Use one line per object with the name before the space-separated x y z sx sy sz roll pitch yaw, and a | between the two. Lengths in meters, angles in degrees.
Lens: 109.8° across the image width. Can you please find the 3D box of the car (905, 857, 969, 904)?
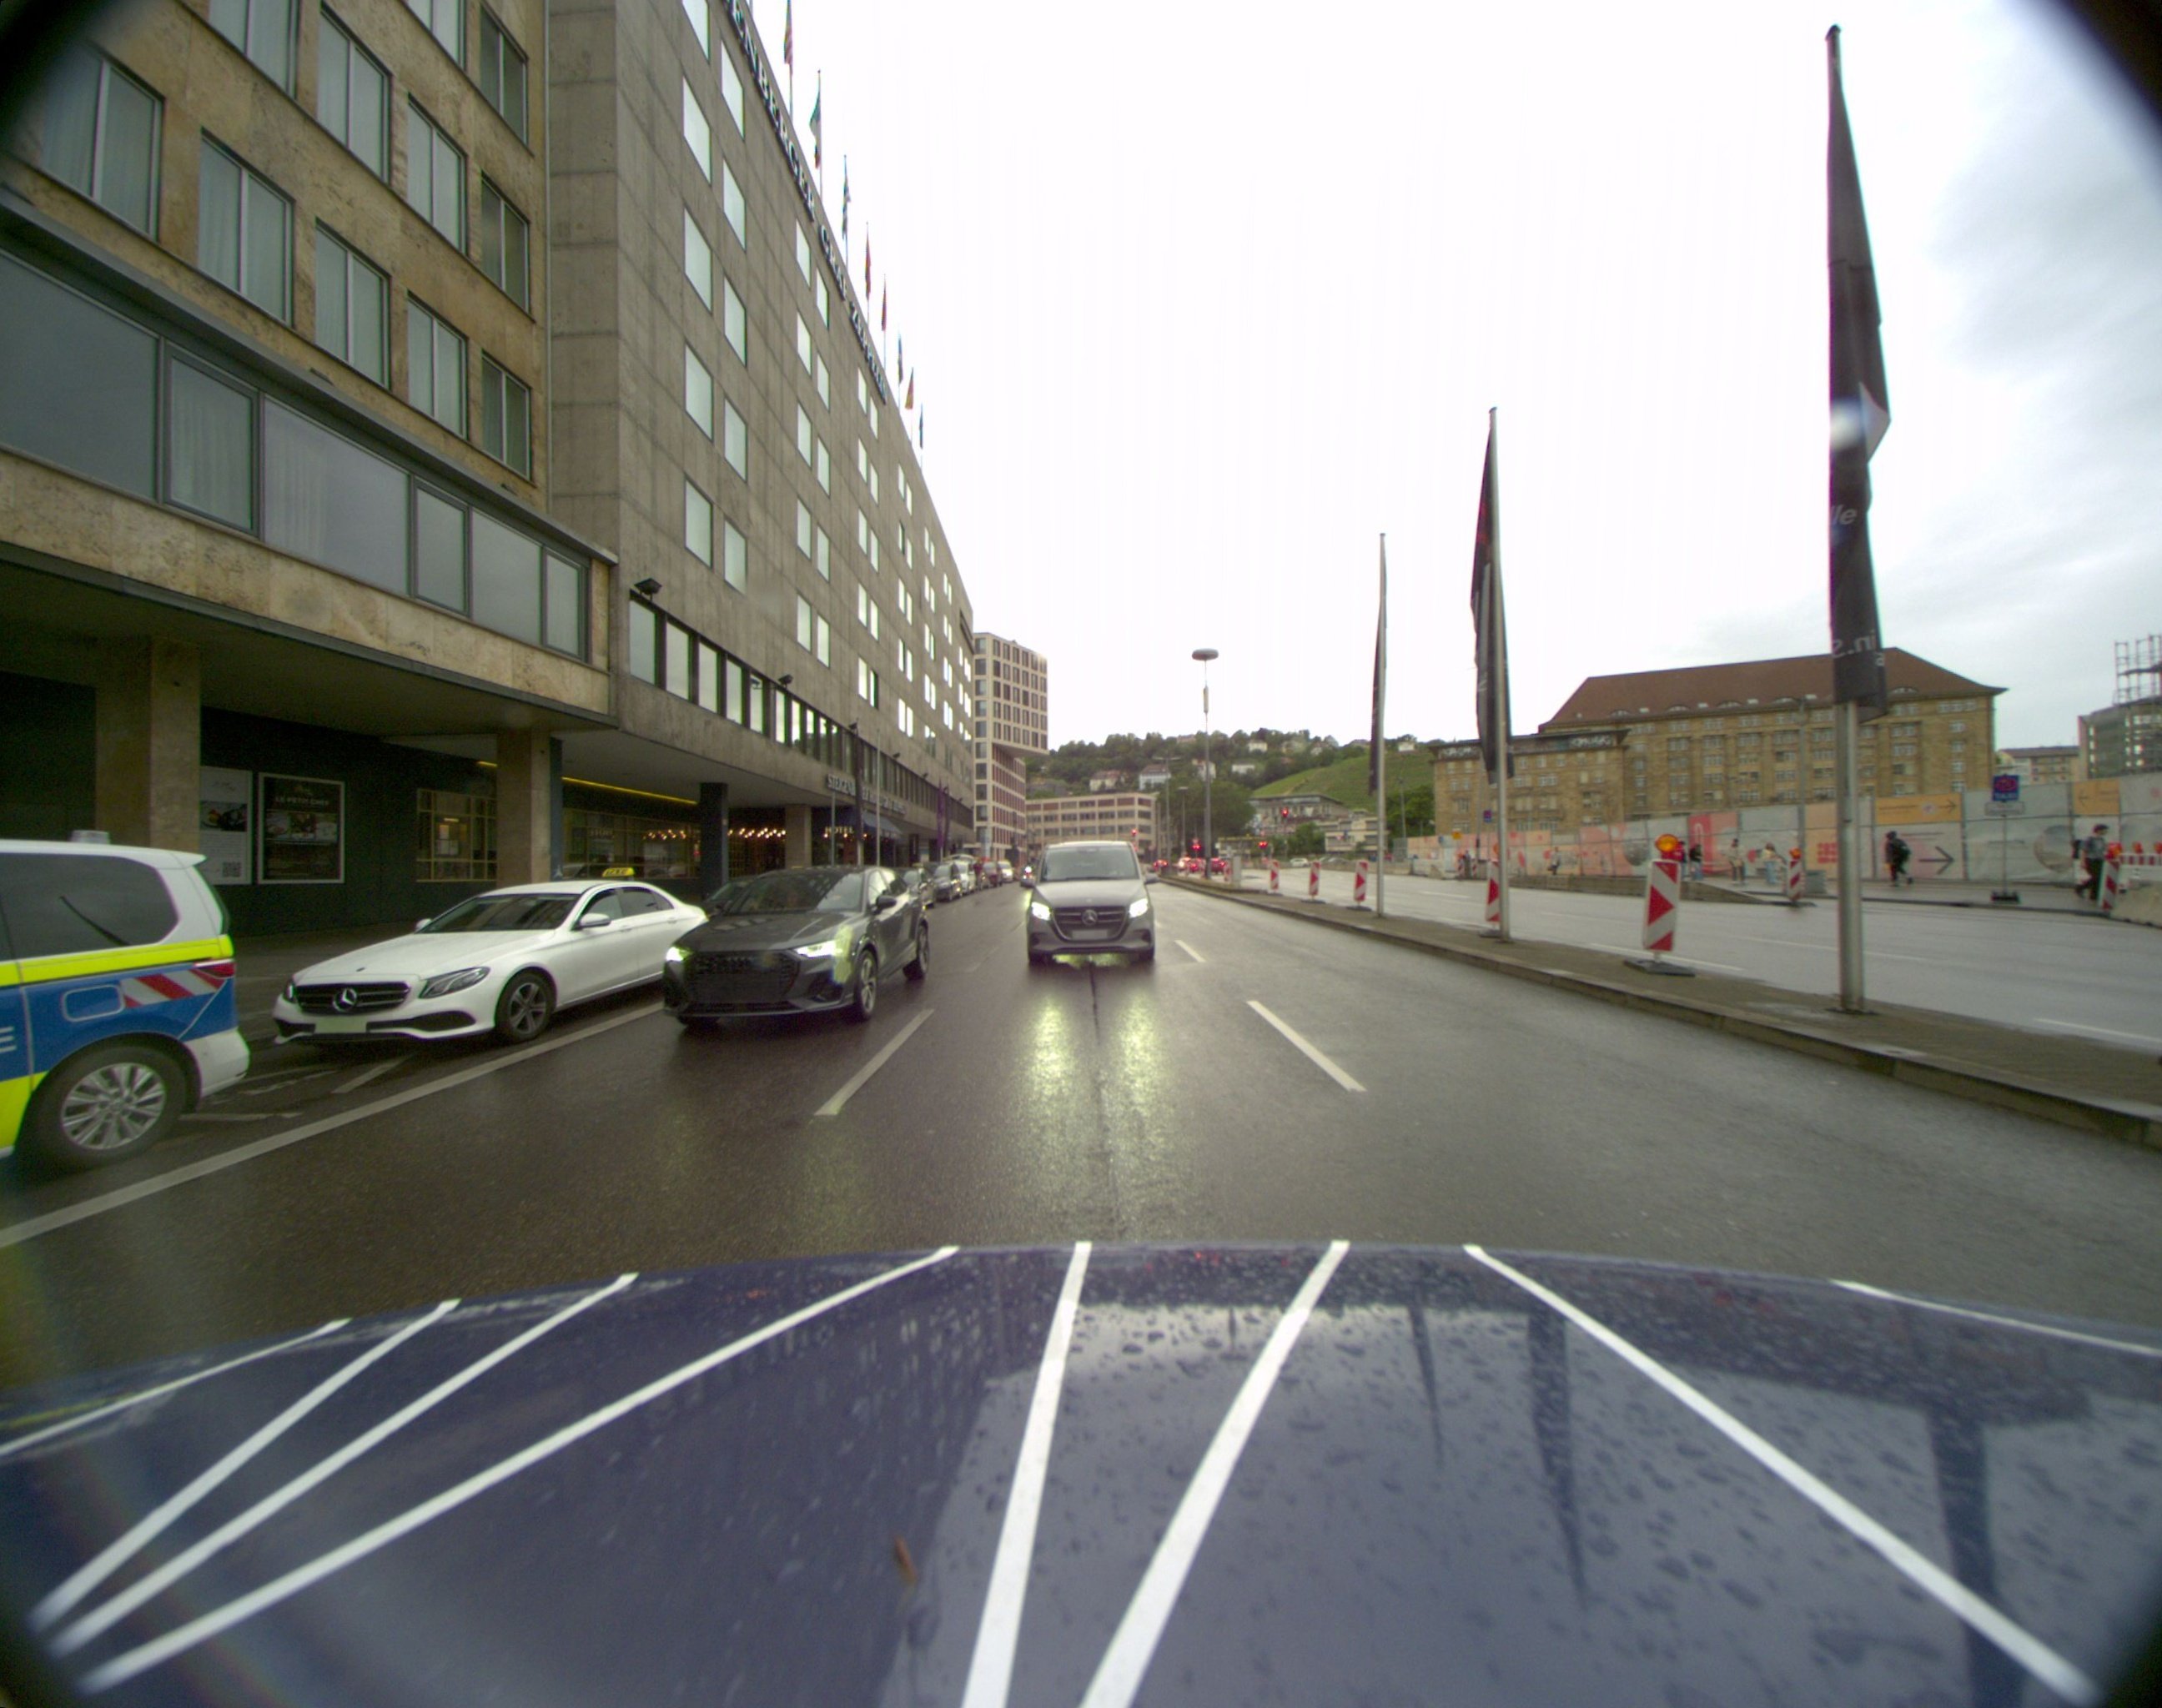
car | -6.048 1.047 32.444 1.731 1.732 4.814 -2 0 0

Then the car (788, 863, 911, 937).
car | -6.041 1.122 20.458 1.731 1.583 4.814 -2 0 0

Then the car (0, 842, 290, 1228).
car | -6.327 0.938 2.644 1.879 1.909 4.935 -2 0 0

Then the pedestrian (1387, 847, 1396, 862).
pedestrian | 34.536 0.066 84.428 0.715 1.606 0.544 -2 1 1

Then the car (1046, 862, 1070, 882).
car | -1.902 1.489 63.074 1.869 1.461 3.999 -2 0 -3

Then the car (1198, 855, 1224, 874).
car | 12.315 0.956 71.902 1.785 1.684 3.916 -1 0 0

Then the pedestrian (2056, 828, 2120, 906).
pedestrian | 24.433 0.309 18.450 0.587 1.825 0.717 -2 1 1

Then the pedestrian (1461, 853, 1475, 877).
pedestrian | 27.095 0.763 53.212 0.715 1.606 0.544 -2 1 1

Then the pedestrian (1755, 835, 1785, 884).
pedestrian | 26.123 0.207 28.816 0.661 1.825 0.556 -2 1 21

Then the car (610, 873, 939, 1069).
car | -3.048 1.063 8.722 1.883 1.493 4.342 -2 0 1

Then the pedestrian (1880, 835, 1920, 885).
pedestrian | 27.099 0.199 25.138 0.715 1.606 0.544 -2 1 1

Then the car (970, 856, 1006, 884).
car | -5.864 0.989 48.328 1.731 1.604 4.001 -2 0 0

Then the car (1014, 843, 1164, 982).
car | 0.144 0.791 13.053 1.998 1.849 5.160 -2 0 1

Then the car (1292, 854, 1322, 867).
car | 34.749 1.035 116.998 4.194 1.846 1.832 -2 1 6

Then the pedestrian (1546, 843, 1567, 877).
pedestrian | 26.241 0.321 41.924 0.664 1.825 0.720 -2 1 1

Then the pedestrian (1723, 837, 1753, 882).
pedestrian | 25.565 0.219 29.573 0.714 1.734 0.564 -2 1 21

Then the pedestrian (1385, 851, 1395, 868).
pedestrian | 29.508 0.508 72.635 0.715 1.606 0.544 -2 1 1

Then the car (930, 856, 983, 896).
car | -6.085 1.015 37.641 1.731 1.732 4.814 -2 0 0

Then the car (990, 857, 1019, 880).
car | -5.893 1.055 58.648 1.731 1.604 4.001 -2 0 0

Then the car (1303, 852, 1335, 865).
car | 32.072 0.634 102.576 3.993 1.622 2.002 -1 0 14

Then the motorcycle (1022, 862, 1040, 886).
motorcycle | -2.944 1.165 44.520 0.848 1.299 1.965 -2 1 1

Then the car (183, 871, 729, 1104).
car | -6.096 1.113 8.509 1.879 1.628 5.011 -2 0 0

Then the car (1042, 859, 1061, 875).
car | -3.157 1.349 80.644 1.869 1.461 3.999 -2 0 -3

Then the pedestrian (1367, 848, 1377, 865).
pedestrian | 28.078 0.272 73.407 0.715 1.606 0.544 -2 1 1

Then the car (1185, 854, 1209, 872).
car | 12.121 0.914 79.502 1.785 1.684 3.916 -2 0 -1

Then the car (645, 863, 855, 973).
car | -6.076 1.073 14.730 1.879 1.628 4.814 -2 0 0

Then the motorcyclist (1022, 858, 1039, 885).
motorcyclist | -2.942 1.019 44.507 0.861 1.519 0.844 -2 1 1

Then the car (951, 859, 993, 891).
car | -6.119 1.132 43.149 1.731 1.604 4.001 -2 0 0

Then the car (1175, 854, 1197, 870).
car | 11.847 0.885 85.743 1.785 1.684 3.916 -2 0 -1

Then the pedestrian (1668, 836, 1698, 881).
pedestrian | 23.963 0.175 30.256 0.714 1.723 0.718 -2 1 19

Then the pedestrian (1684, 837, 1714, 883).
pedestrian | 25.048 0.244 30.802 0.714 1.825 0.718 -2 1 19

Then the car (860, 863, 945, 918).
car | -6.042 1.161 26.273 1.731 1.583 4.814 -2 0 0

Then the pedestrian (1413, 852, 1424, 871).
pedestrian | 29.276 0.648 65.919 0.715 1.606 0.544 -2 1 1

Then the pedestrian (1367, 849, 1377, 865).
pedestrian | 30.591 0.325 79.905 0.715 1.606 0.544 -2 1 1
